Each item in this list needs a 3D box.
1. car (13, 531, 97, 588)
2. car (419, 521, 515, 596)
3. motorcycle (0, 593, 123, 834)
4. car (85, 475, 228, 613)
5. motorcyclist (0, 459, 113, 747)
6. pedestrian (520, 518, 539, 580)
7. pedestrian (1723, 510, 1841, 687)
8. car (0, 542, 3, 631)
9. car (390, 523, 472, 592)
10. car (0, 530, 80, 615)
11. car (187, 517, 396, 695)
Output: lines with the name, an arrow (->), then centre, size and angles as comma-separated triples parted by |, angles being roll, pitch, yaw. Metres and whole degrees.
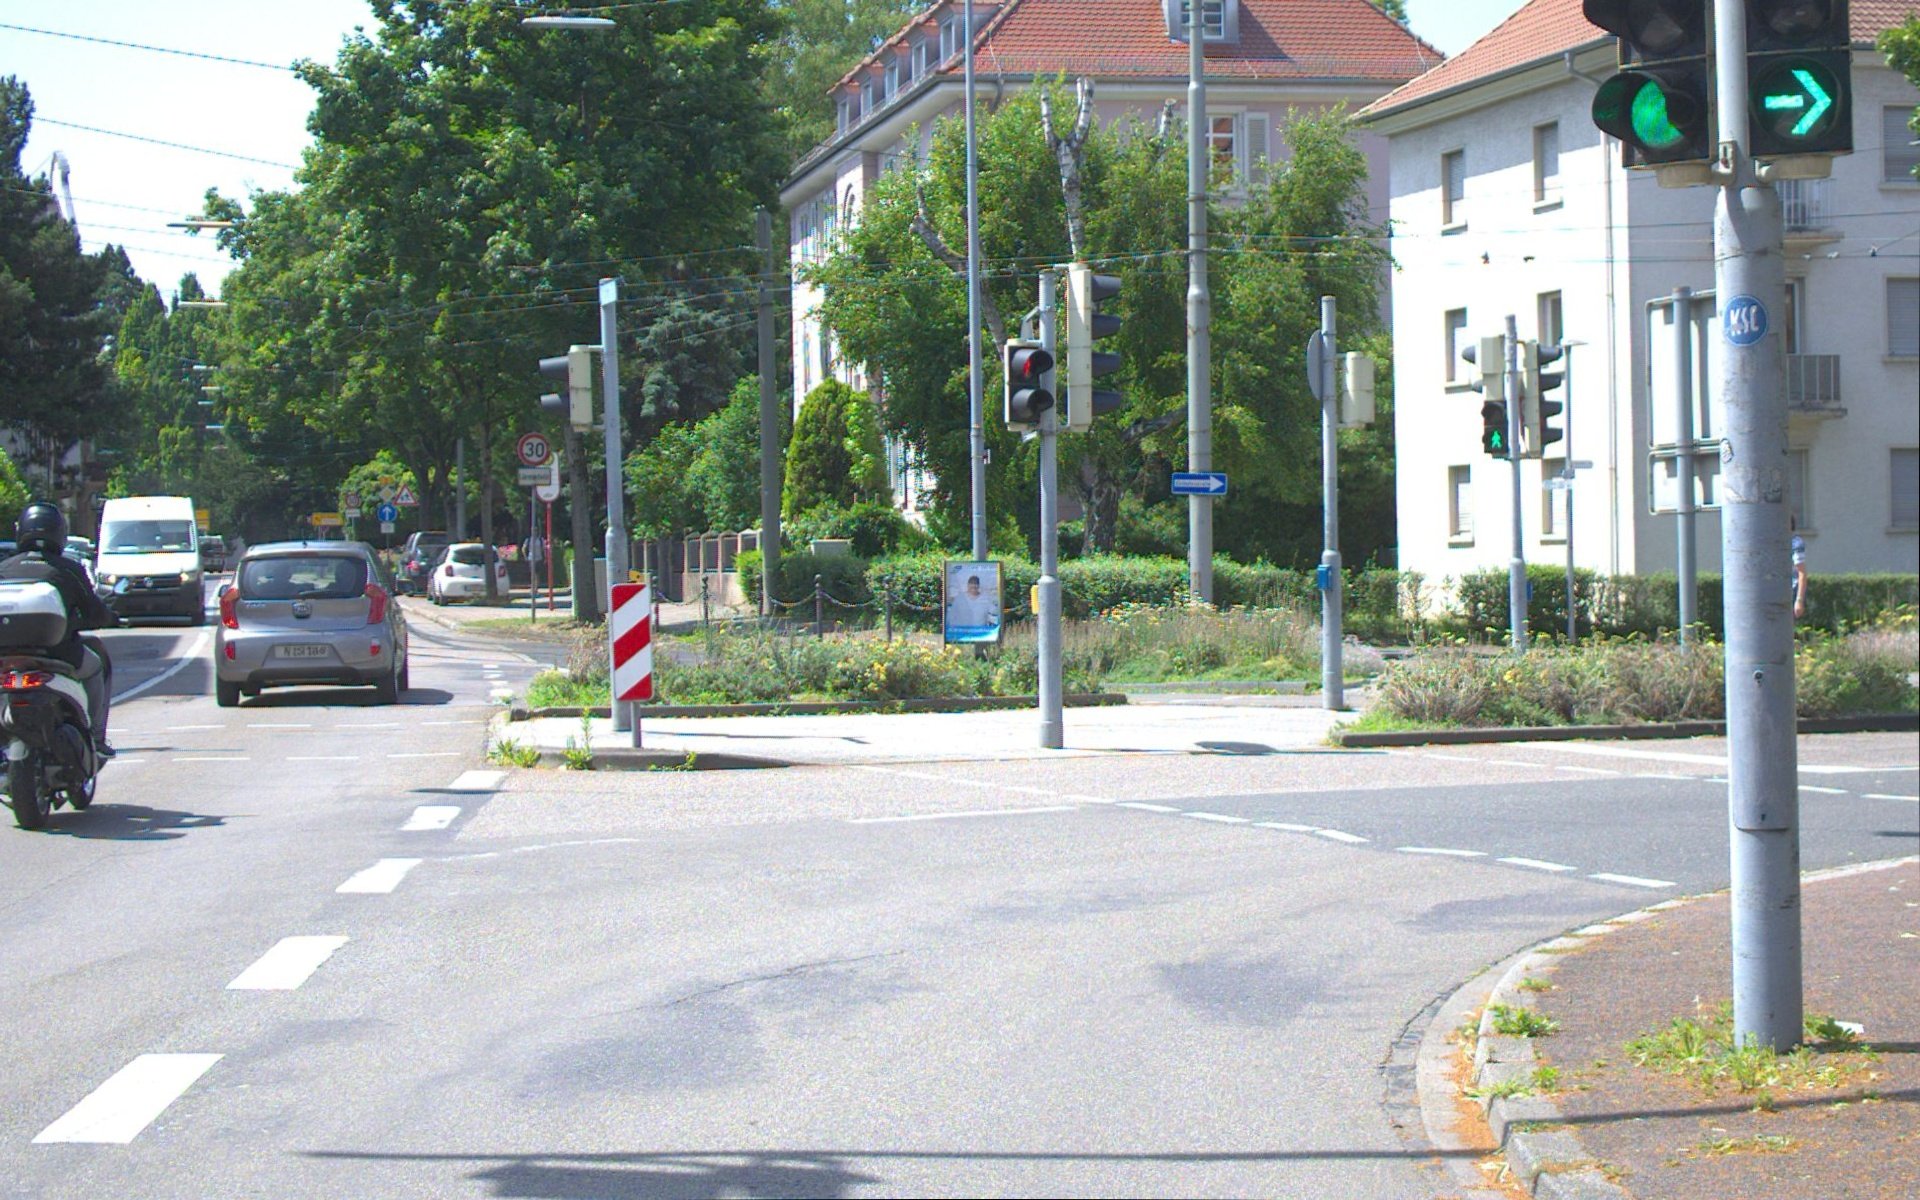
car -> -26.318, -1.178, 100.059 | 1.798, 1.552, 4.038 | 3, 1, -7
car -> -12.143, -1.037, 84.583 | 1.993, 1.801, 4.001 | 0, 1, -13
motorcycle -> -4.783, 0.550, 17.751 | 0.711, 1.130, 2.198 | 0, 1, -9
car -> -16.019, -1.113, 68.893 | 2.215, 2.492, 7.556 | -4, 1, -10
motorcyclist -> -4.780, 0.007, 17.726 | 0.711, 1.440, 1.019 | 0, 1, -9
pedestrian -> -11.663, -1.384, 93.071 | 0.508, 1.650, 0.466 | 0, 1, -8
pedestrian -> 8.036, -0.023, 33.622 | 0.835, 1.699, 0.762 | -1, 1, -28
car -> -17.107, -0.209, 57.451 | 1.993, 1.504, 4.001 | -1, 1, -13
car -> -15.063, -1.218, 97.748 | 1.993, 1.900, 4.001 | 0, 1, -13
car -> -20.002, -0.608, 73.637 | 1.798, 1.712, 4.038 | 3, 1, -9
car -> -6.267, 0.016, 32.267 | 1.798, 1.552, 4.038 | 0, 1, -11
